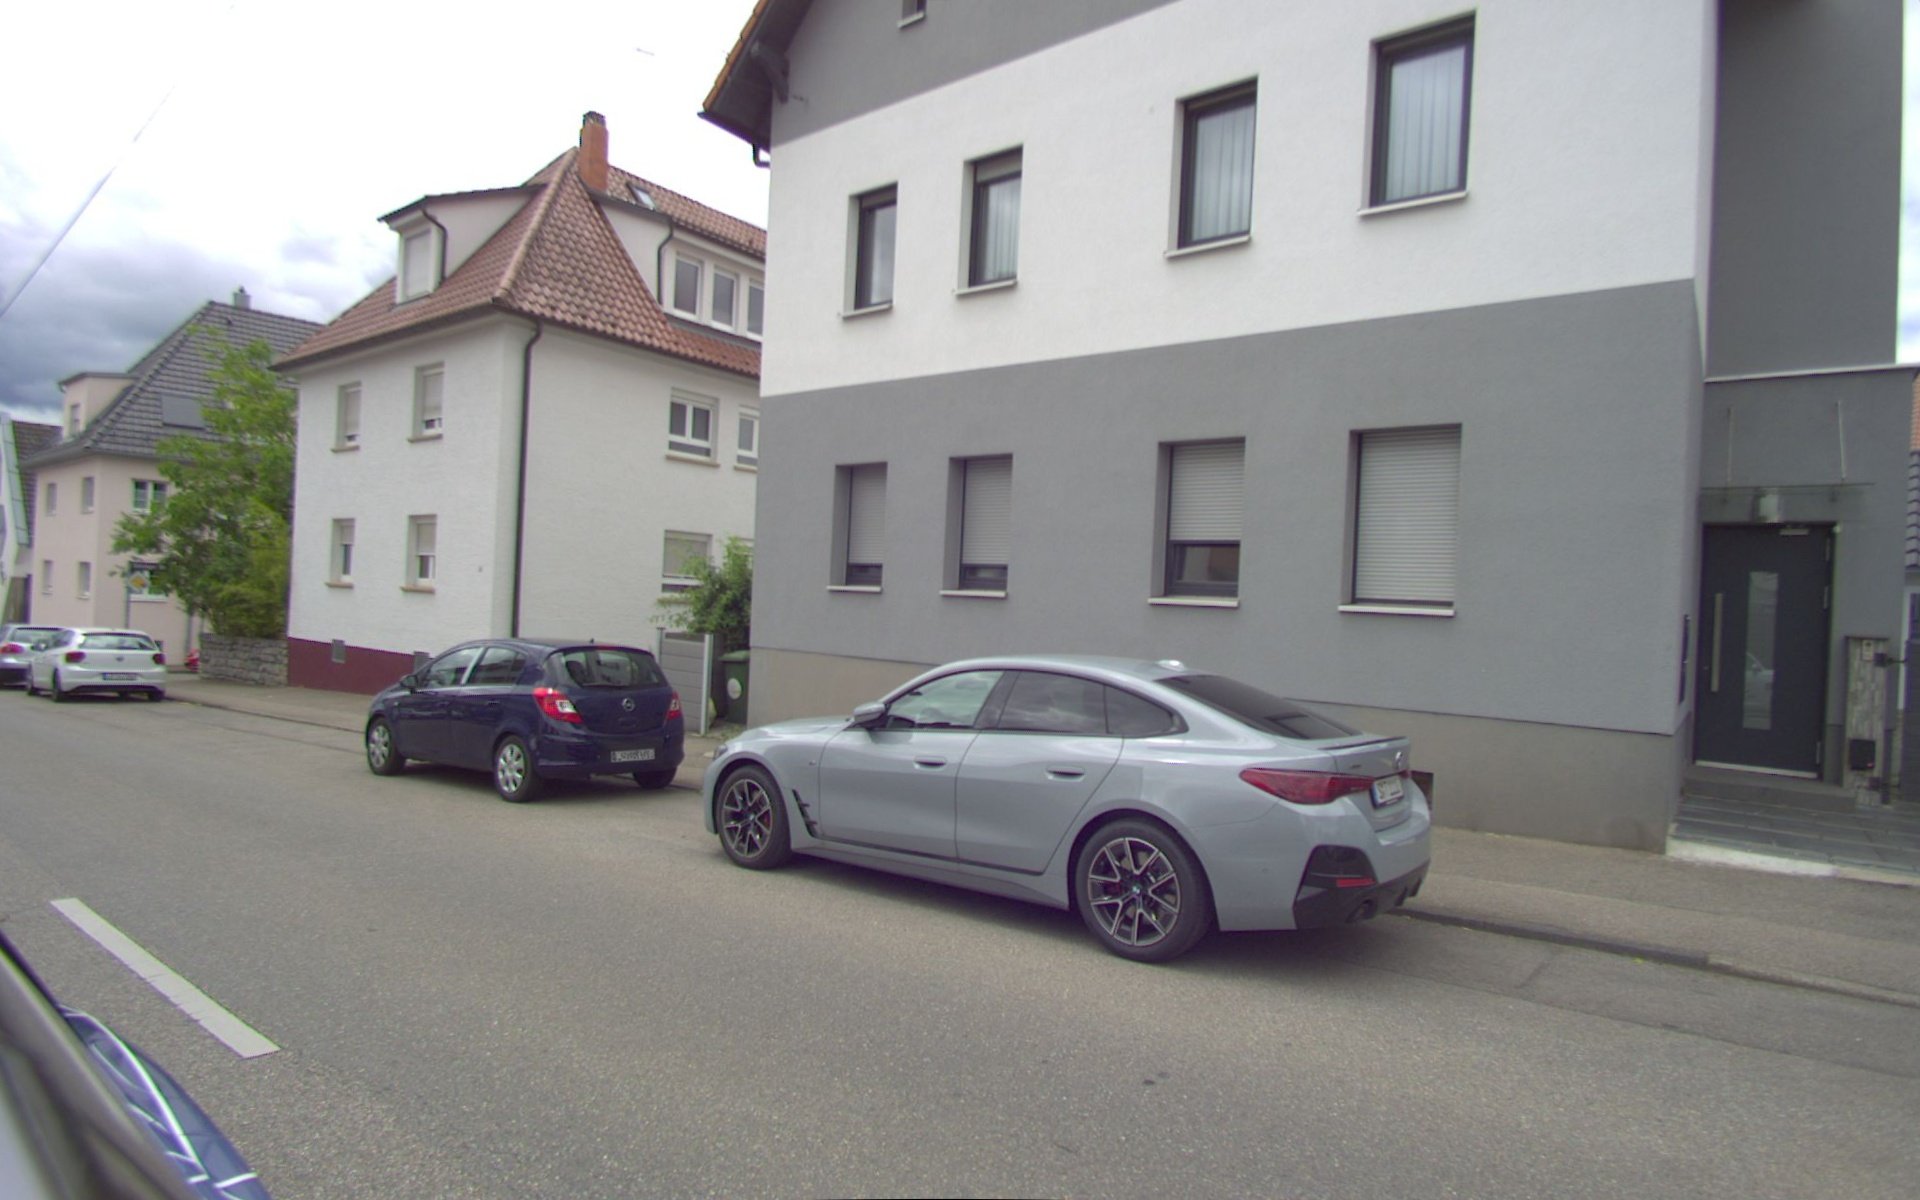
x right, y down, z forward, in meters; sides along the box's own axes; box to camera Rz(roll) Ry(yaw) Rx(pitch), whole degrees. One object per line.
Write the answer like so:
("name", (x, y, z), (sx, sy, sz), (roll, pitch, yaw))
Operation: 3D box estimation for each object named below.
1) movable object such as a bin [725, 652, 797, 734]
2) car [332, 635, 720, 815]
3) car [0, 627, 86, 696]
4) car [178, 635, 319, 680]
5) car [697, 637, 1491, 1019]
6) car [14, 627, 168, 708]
("movable object such as a bin", (-2.941, 1.350, 14.971), (0.763, 1.121, 0.718), (-1, -1, 38))
("car", (-4.527, 1.141, 10.385), (3.992, 1.456, 1.821), (-1, -4, 36))
("car", (-21.728, 1.381, 23.451), (3.772, 1.458, 1.632), (-1, -4, 41))
("car", (-24.369, 1.939, 34.745), (1.707, 1.421, 3.683), (-1, -2, 42))
("car", (0.565, 1.010, 6.130), (4.462, 1.456, 1.819), (-1, -4, 39))
("car", (-17.684, 1.326, 20.554), (3.806, 1.458, 1.633), (-1, -4, 38))
